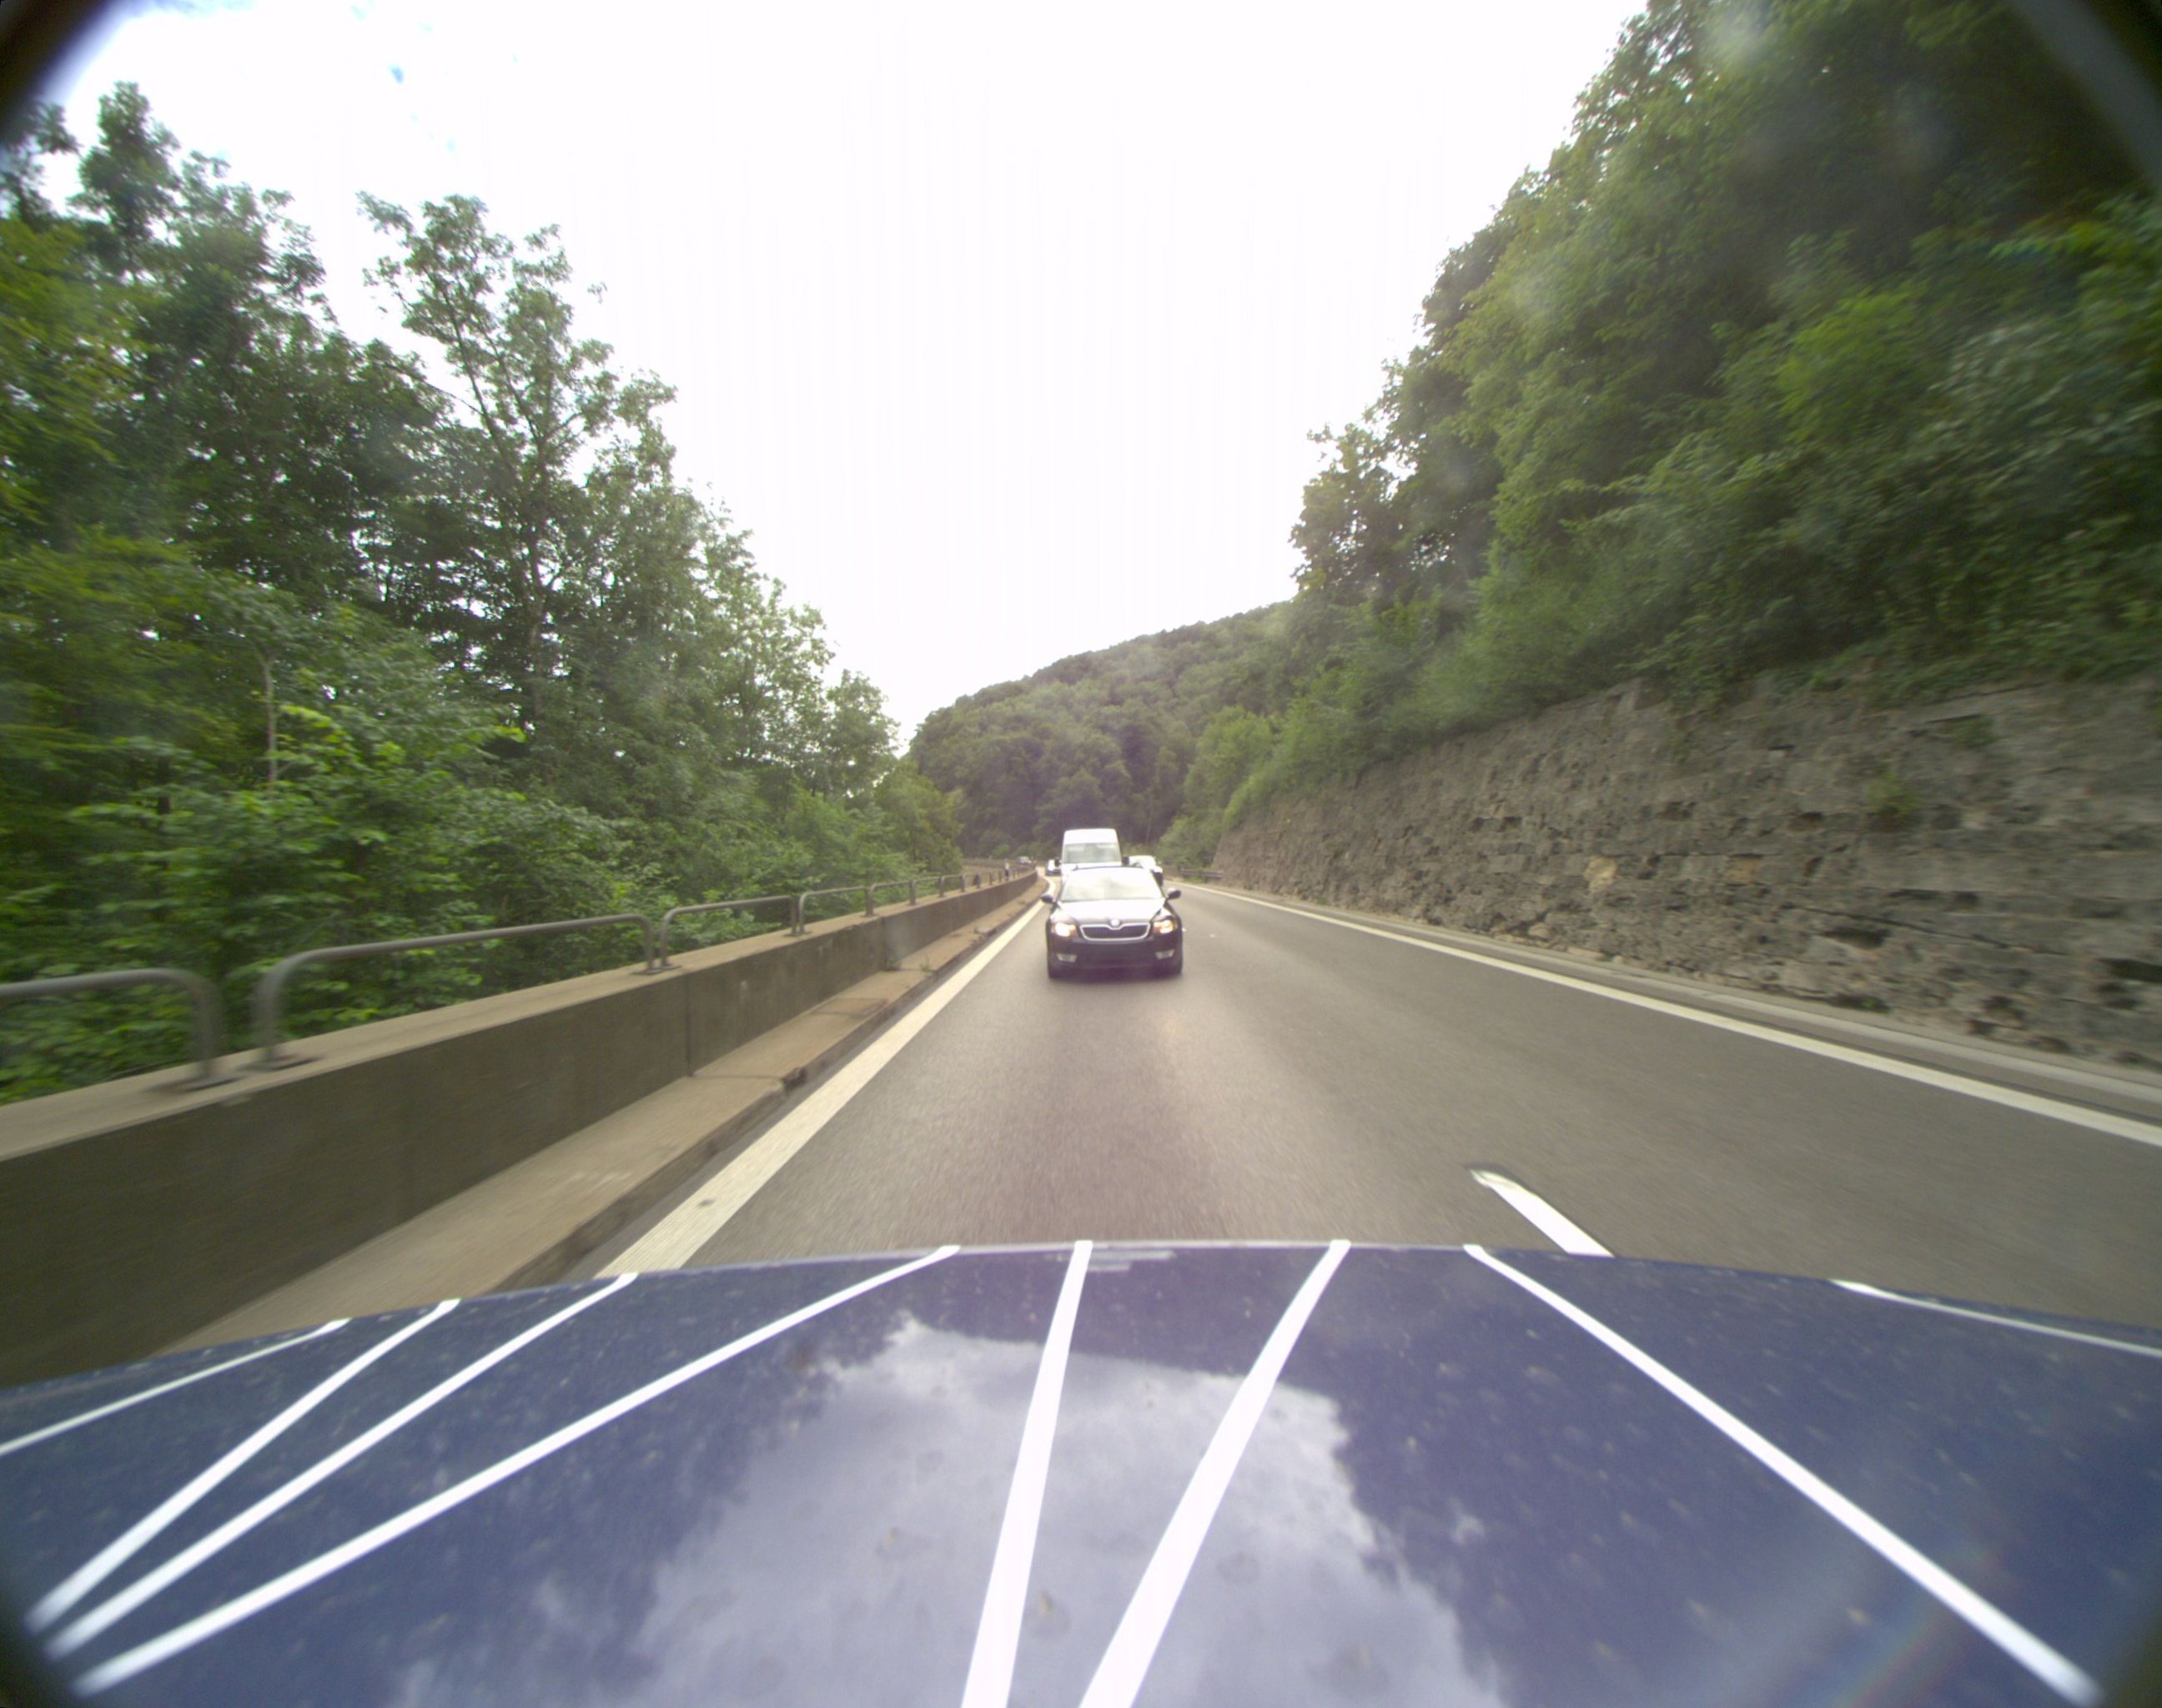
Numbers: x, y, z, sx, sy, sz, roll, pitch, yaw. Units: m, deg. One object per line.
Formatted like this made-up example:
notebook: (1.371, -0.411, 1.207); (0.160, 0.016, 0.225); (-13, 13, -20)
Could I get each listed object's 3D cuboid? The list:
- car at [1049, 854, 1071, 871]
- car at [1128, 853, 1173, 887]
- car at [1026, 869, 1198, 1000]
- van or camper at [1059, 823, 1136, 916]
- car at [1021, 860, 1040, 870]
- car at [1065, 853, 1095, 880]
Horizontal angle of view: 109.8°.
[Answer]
car: (-1.960, 0.754, 69.825); (1.888, 1.312, 3.998); (-2, 1, -4)
car: (3.631, 0.798, 40.598); (1.998, 1.622, 5.008); (-2, 0, 1)
car: (0.443, 1.003, 11.497); (1.998, 1.389, 5.008); (-2, 0, 2)
van or camper: (0.433, 0.443, 24.469); (2.081, 2.575, 5.911); (-2, 0, -1)
car: (-7.276, 1.608, 109.175); (1.890, 1.312, 3.995); (-2, 1, -14)
car: (-0.109, 0.847, 53.105); (1.964, 1.696, 3.998); (-2, 1, -2)
